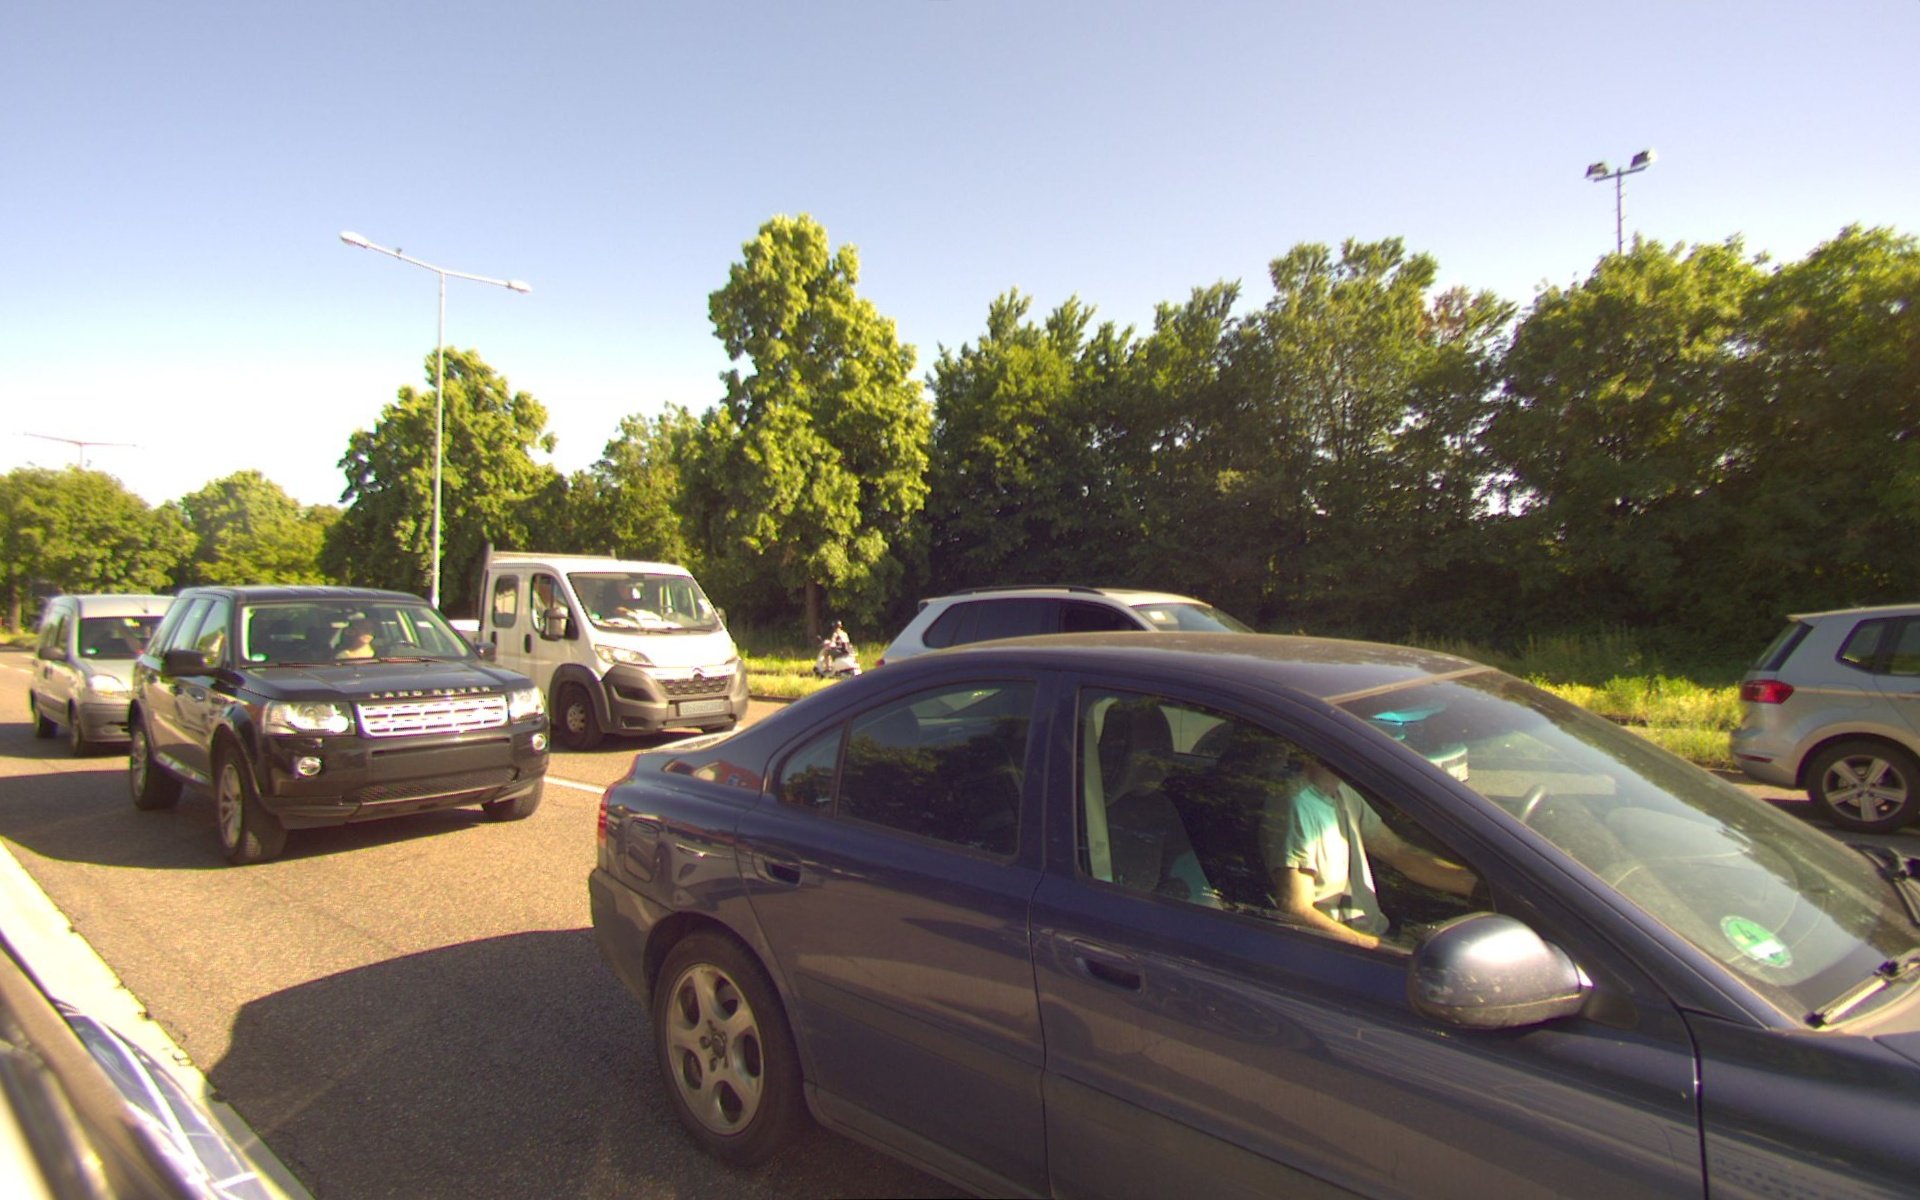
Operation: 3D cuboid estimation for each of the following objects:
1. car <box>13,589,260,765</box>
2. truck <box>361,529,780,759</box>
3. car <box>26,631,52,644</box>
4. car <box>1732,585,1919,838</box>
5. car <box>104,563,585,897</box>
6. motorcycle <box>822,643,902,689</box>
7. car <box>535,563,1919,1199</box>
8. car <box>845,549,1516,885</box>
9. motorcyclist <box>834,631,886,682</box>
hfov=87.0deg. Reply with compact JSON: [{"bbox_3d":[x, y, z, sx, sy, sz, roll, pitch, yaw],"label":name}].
[{"bbox_3d":[-10.052,0.799,12.224,4.384,1.765,1.611,-1,-1,41],"label":"car"},{"bbox_3d":[-5.407,0.481,13.308,6.838,2.337,2.158,-1,-1,40],"label":"truck"},{"bbox_3d":[-108.544,4.406,119.301,3.998,1.428,1.769,-2,-3,41],"label":"car"},{"bbox_3d":[7.631,0.720,6.416,4.206,1.623,1.810,-2,-3,42],"label":"car"},{"bbox_3d":[-4.695,0.704,7.422,4.384,1.744,1.793,-1,-1,41],"label":"car"},{"bbox_3d":[-2.574,1.706,26.424,2.234,1.134,0.783,-2,-3,41],"label":"motorcycle"},{"bbox_3d":[0.892,0.693,2.427,4.454,1.463,1.757,-1,0,41],"label":"car"},{"bbox_3d":[1.380,0.675,7.432,4.422,1.723,1.973,-2,-3,41],"label":"car"},{"bbox_3d":[-2.616,1.467,26.476,1.159,1.301,0.783,-2,-3,41],"label":"motorcyclist"}]
